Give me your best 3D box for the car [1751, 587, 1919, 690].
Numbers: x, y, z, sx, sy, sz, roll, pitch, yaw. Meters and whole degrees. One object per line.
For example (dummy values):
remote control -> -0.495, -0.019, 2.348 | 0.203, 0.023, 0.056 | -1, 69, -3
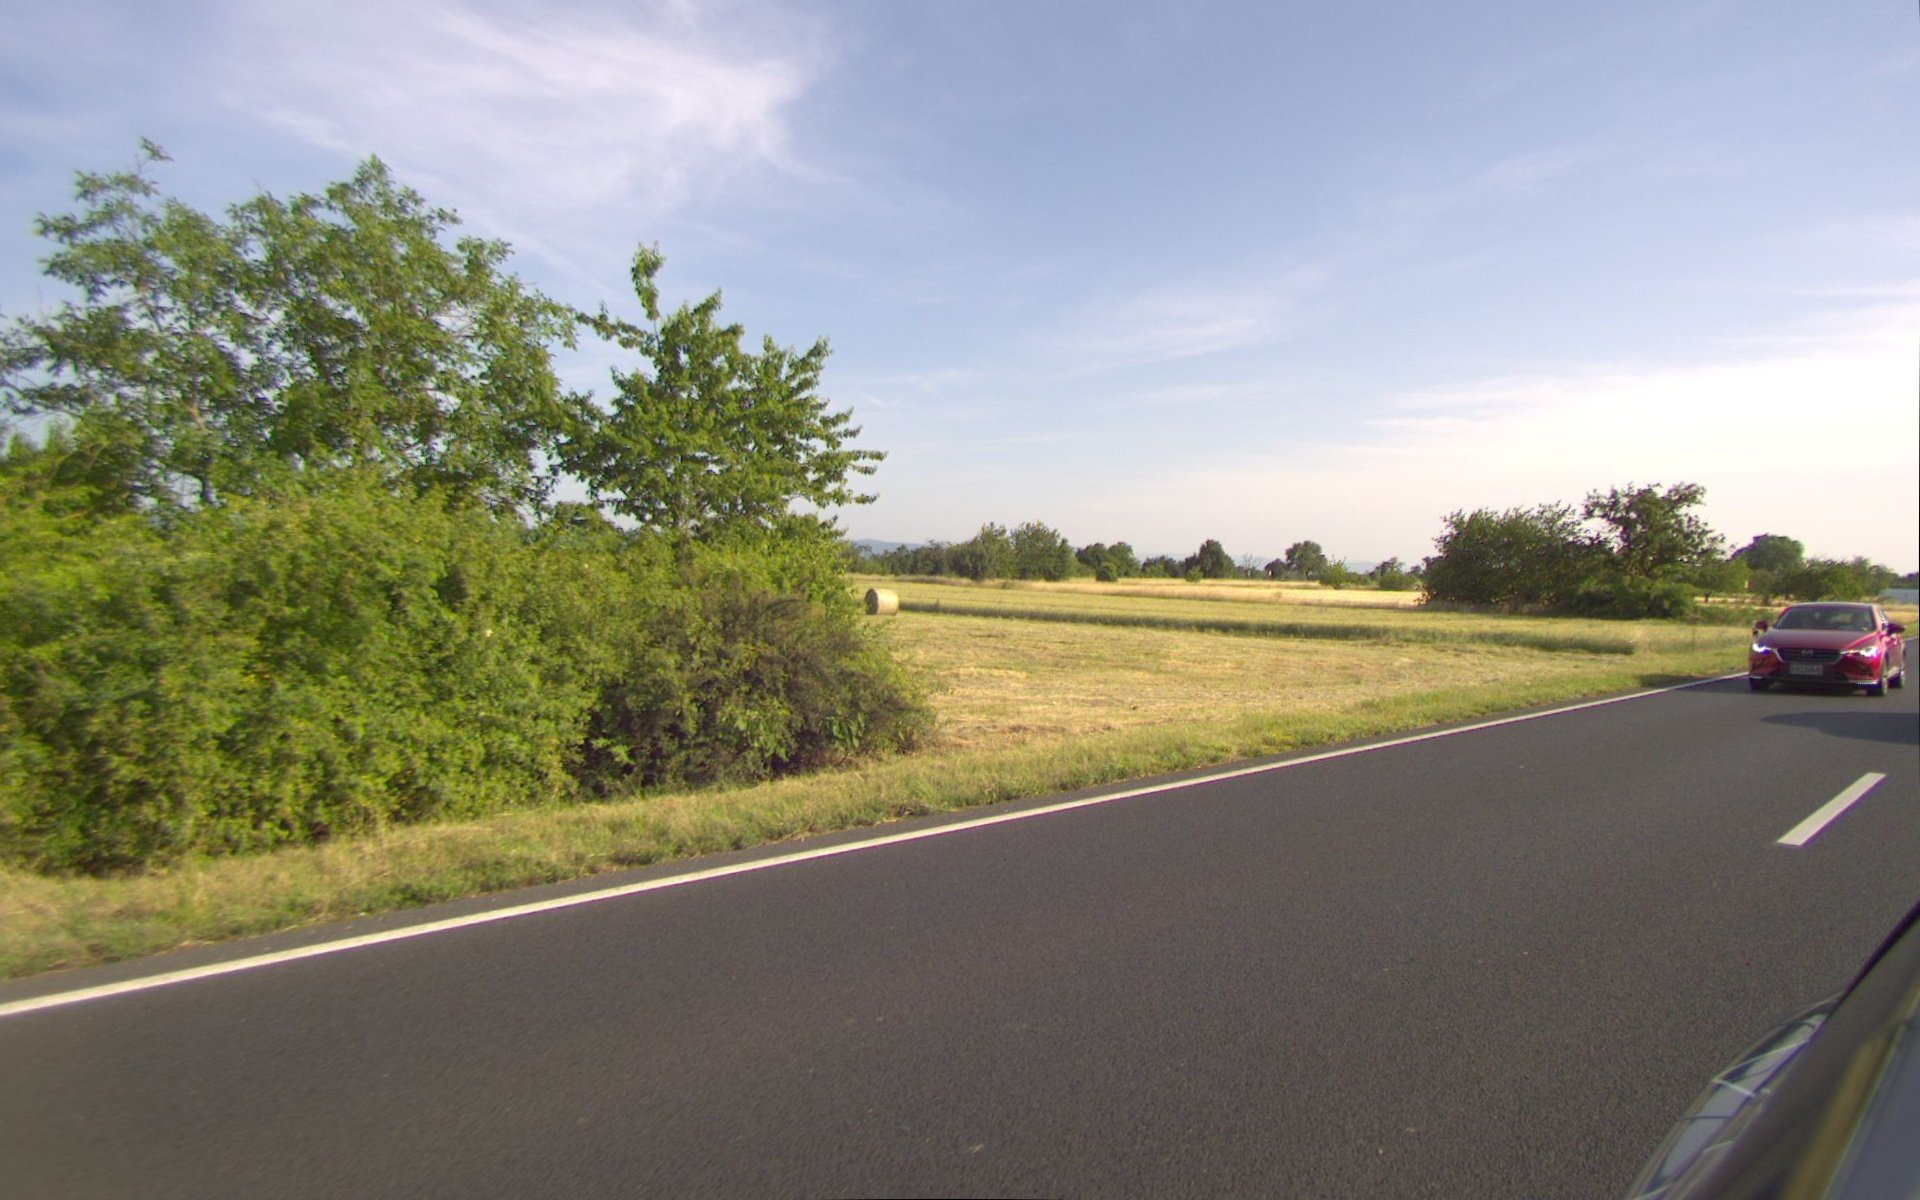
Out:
car -> 15.345, 0.569, 17.611 | 4.423, 1.524, 1.707 | -1, 1, -41

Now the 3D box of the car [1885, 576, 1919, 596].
car -> 131.466, -1.900, 138.345 | 2.049, 2.702, 7.229 | -1, 2, -26
